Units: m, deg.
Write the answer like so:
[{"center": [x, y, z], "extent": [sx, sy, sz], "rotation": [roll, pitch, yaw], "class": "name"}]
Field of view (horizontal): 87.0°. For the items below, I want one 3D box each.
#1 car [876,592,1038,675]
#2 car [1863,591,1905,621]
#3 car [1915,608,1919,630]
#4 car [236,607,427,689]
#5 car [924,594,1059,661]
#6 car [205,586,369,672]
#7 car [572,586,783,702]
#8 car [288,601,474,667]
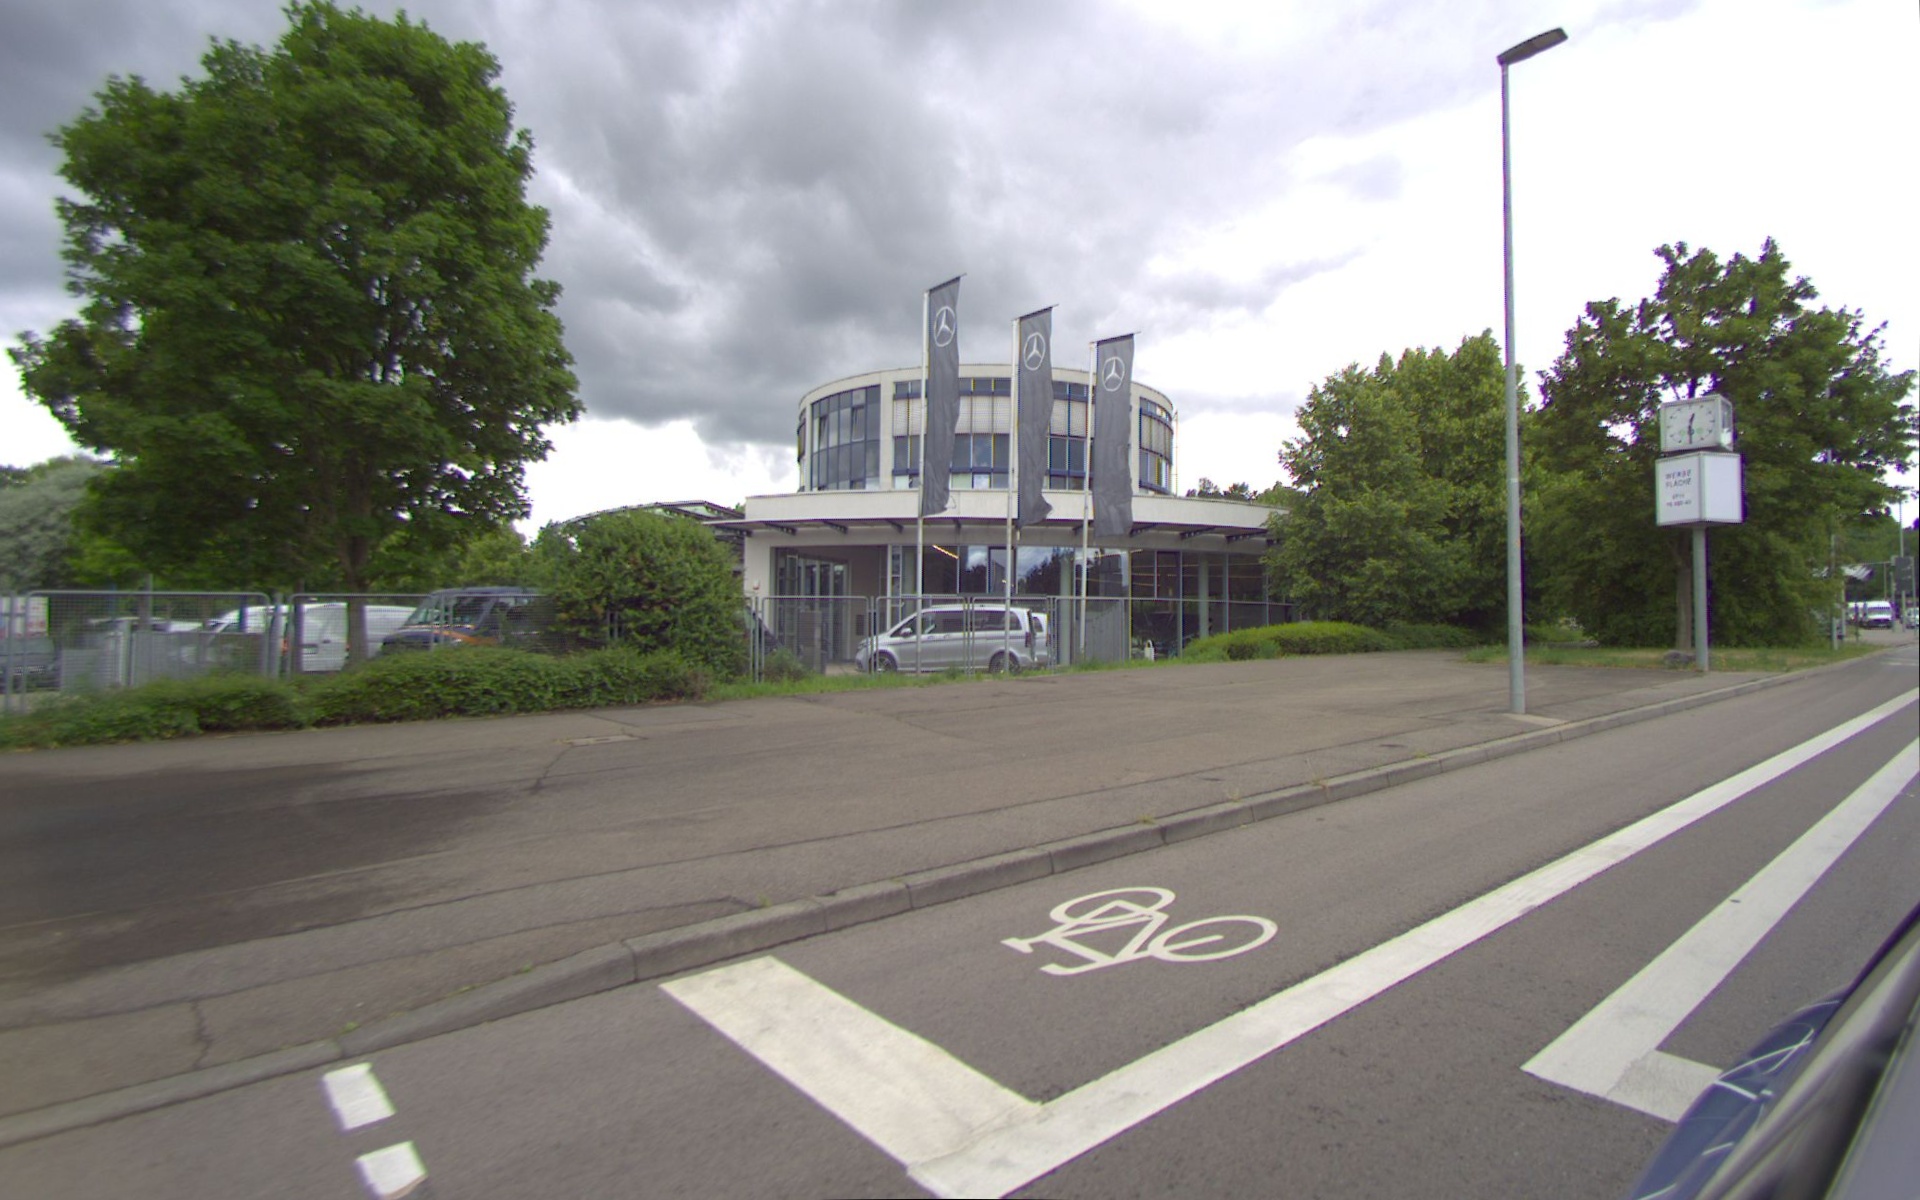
[{"center": [-0.031, 0.861, 26.435], "extent": [3.935, 2.051, 1.994], "rotation": [-1, -1, 10], "class": "car"}, {"center": [87.555, 0.631, 95.987], "extent": [2.214, 2.693, 5.880], "rotation": [-3, -3, 37], "class": "car"}, {"center": [90.439, 1.721, 94.135], "extent": [2.113, 2.017, 4.907], "rotation": [-5, -4, 44], "class": "car"}, {"center": [-14.841, 1.067, 24.064], "extent": [1.614, 1.779, 3.555], "rotation": [-1, -1, 31], "class": "car"}, {"center": [1.020, 0.853, 31.399], "extent": [3.935, 1.981, 1.994], "rotation": [-1, -1, 10], "class": "car"}, {"center": [-23.383, 0.959, 35.230], "extent": [4.357, 2.355, 1.994], "rotation": [-5, -7, -44], "class": "car"}, {"center": [-5.479, 0.798, 20.370], "extent": [1.971, 2.051, 4.774], "rotation": [-1, -1, 15], "class": "car"}, {"center": [-12.931, 0.719, 22.850], "extent": [1.604, 1.367, 3.577], "rotation": [-1, -1, 16], "class": "car"}]
